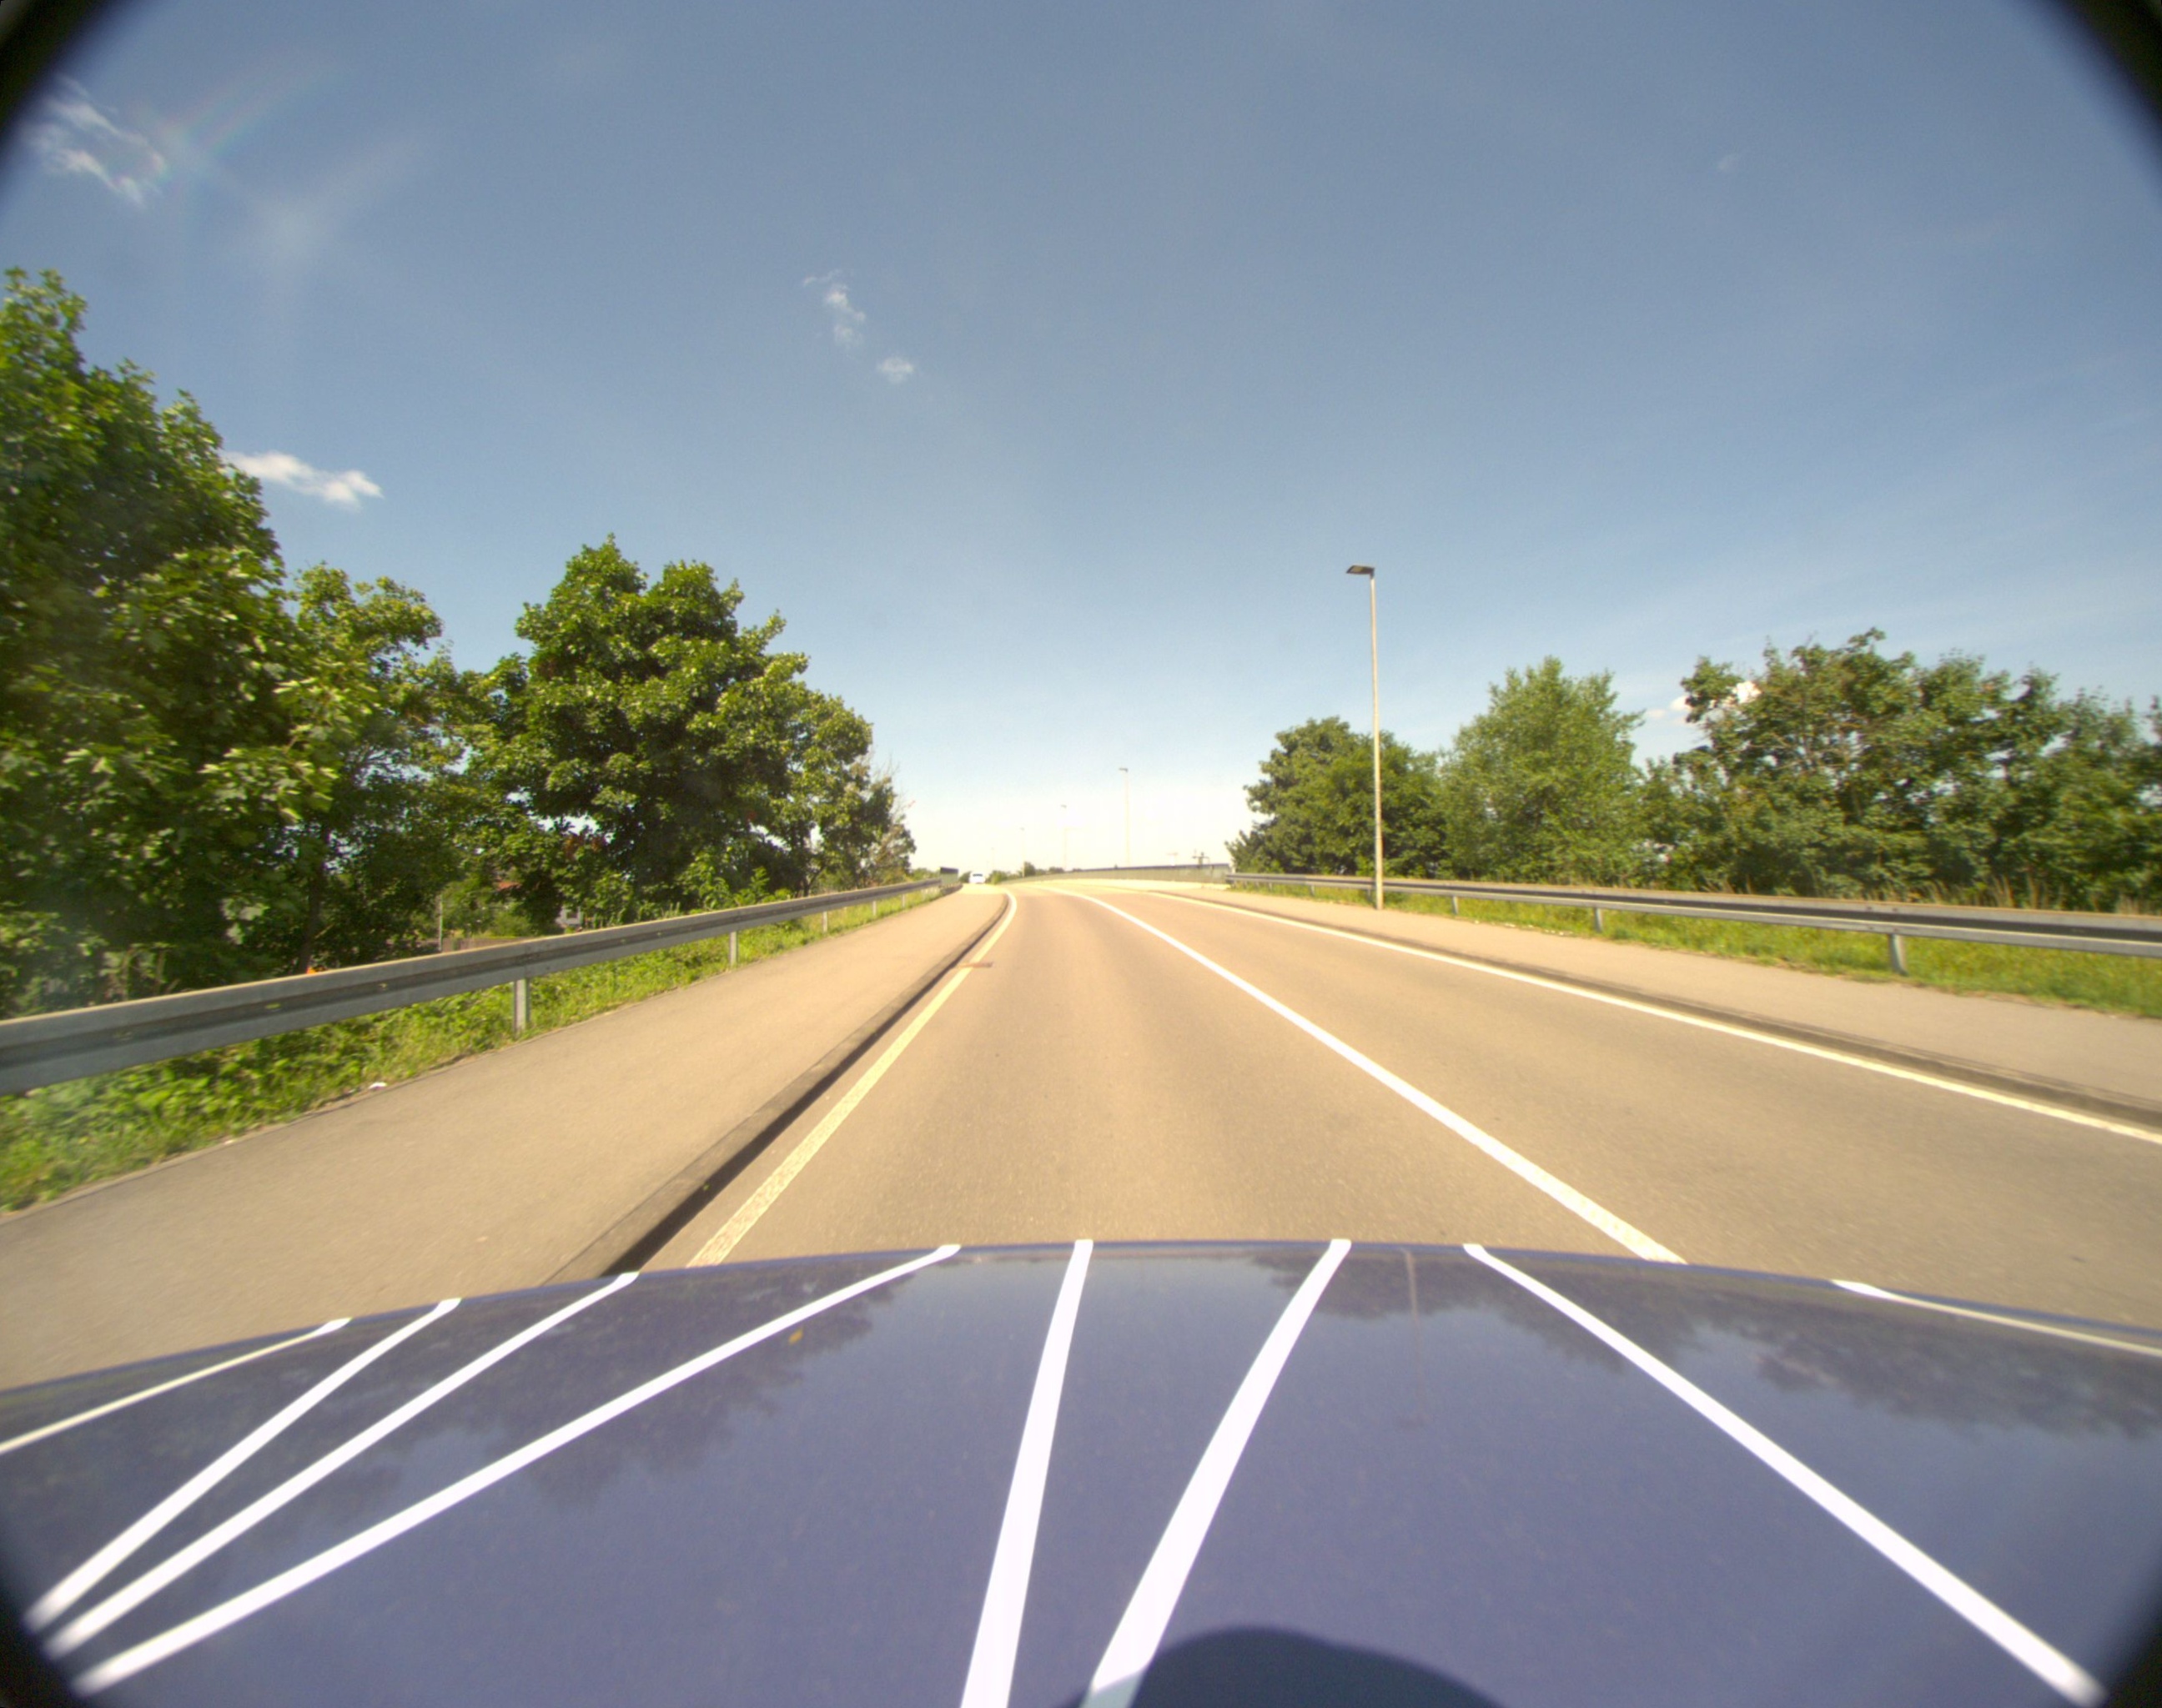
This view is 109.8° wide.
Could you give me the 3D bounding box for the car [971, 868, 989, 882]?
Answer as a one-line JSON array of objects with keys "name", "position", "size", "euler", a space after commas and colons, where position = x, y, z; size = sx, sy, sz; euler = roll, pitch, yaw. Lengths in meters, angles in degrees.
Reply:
[{"name": "car", "position": [-13.601, 2.831, 101.816], "size": [2.094, 1.750, 4.279], "euler": [-2, -1, -11]}]
